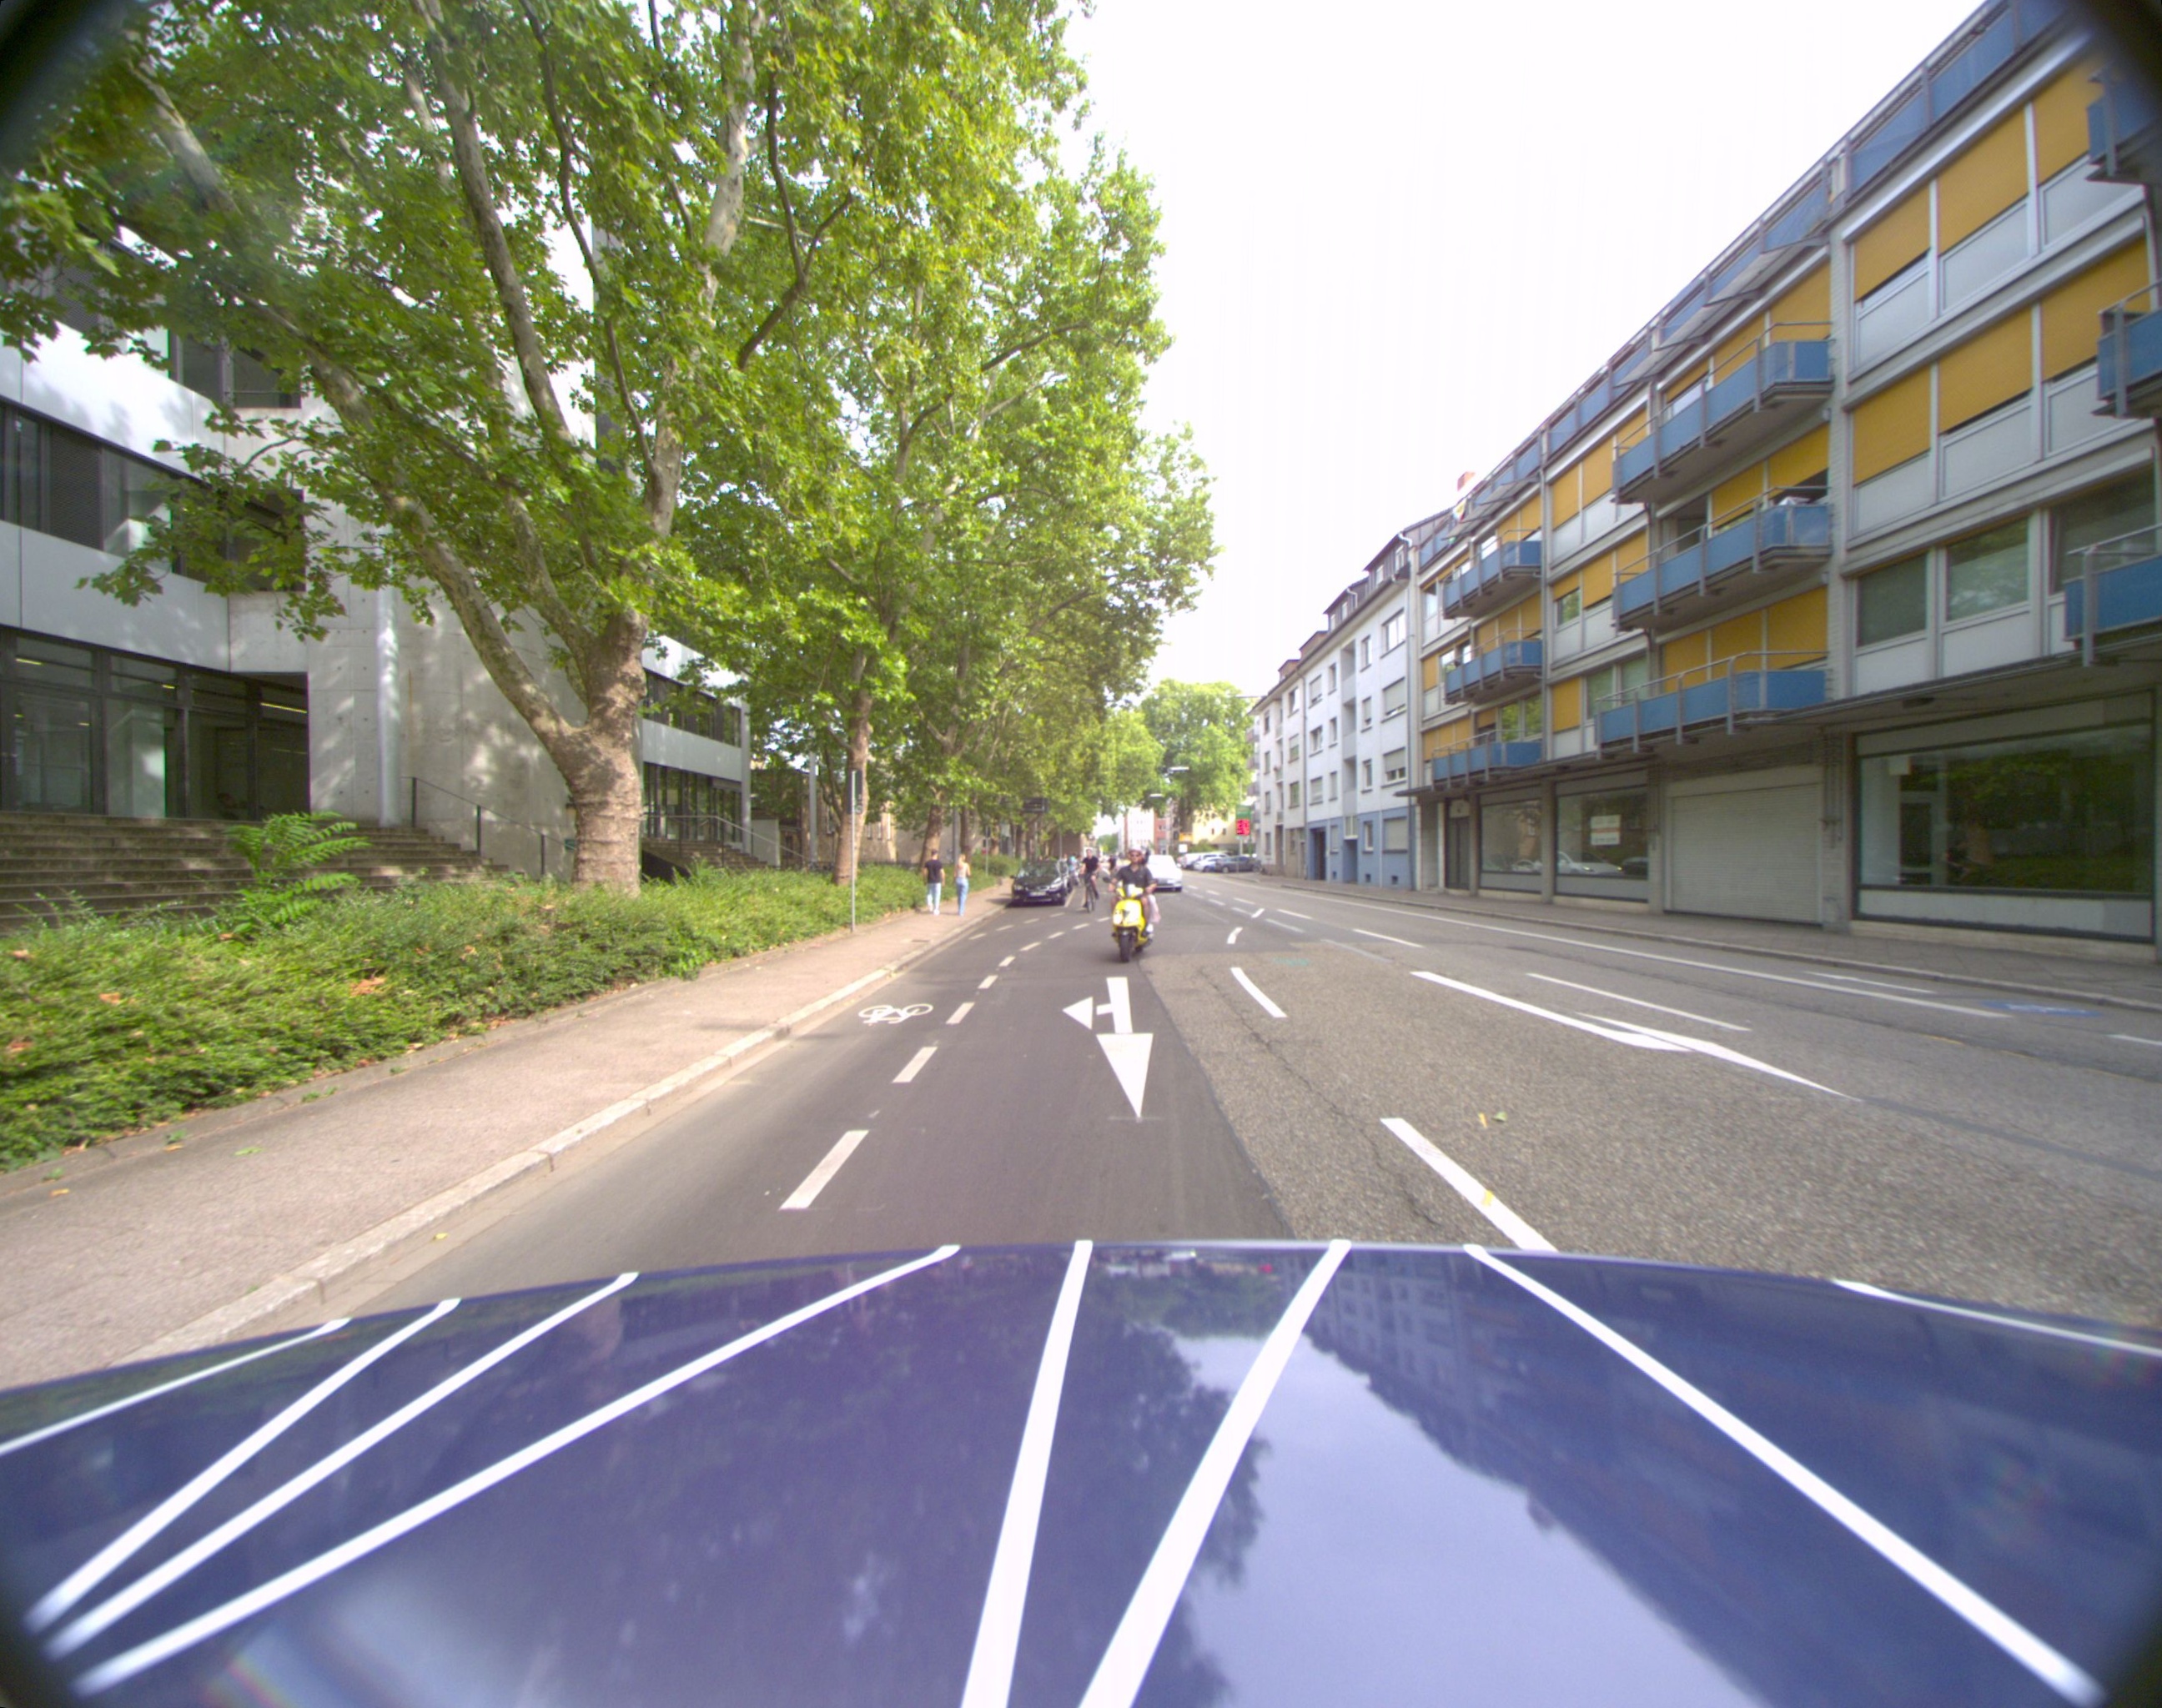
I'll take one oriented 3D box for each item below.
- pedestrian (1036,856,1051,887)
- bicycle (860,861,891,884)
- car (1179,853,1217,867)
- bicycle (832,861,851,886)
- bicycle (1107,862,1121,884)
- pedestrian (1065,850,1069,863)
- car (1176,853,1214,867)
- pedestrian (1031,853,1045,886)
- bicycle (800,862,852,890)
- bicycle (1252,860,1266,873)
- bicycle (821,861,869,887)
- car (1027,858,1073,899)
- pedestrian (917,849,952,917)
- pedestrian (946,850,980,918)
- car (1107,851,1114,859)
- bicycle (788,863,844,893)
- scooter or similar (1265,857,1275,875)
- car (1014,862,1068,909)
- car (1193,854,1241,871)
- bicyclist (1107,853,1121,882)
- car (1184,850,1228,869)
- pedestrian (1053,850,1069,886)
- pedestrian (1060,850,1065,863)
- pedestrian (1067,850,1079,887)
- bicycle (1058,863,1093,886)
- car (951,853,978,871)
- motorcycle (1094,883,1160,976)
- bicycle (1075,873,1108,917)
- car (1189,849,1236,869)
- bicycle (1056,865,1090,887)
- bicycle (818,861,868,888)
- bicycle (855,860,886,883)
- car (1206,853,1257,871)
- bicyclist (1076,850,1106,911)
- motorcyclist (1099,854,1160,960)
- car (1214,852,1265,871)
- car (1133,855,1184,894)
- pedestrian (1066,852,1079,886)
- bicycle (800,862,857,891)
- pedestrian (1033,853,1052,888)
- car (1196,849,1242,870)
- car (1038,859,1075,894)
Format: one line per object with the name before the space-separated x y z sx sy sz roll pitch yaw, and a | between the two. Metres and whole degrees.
pedestrian | -2.027 0.945 41.533 0.723 1.648 0.655 -2 1 1
bicycle | -9.786 0.881 36.215 1.382 1.111 0.468 1 1 -6
car | 14.528 0.766 94.635 4.372 1.540 1.733 -3 0 2
bicycle | -11.067 0.893 35.167 0.492 1.111 1.437 0 0 -4
bicycle | 1.868 1.068 43.160 0.763 1.162 1.950 -1 0 2
pedestrian | -1.964 0.402 107.516 0.502 1.775 0.527 3 1 0
car | 14.490 0.754 96.951 4.529 1.596 1.754 -3 0 2
pedestrian | -2.410 0.855 42.657 0.723 1.844 0.703 -2 1 1
bicycle | -10.616 0.902 31.690 1.919 1.111 0.673 1 0 1
bicycle | 12.977 0.916 55.402 0.598 0.945 1.663 -2 0 1
bicycle | -10.495 0.882 33.799 1.919 1.111 0.673 1 0 1
car | -1.235 0.986 31.162 1.539 1.534 2.600 -2 0 4
pedestrian | -3.932 0.763 20.508 0.717 1.789 1.033 1 1 0
pedestrian | -3.172 0.778 20.510 0.712 1.773 1.033 1 1 0
car | 9.503 0.374 244.816 1.998 2.546 4.799 -1 0 2
bicycle | -10.223 0.911 29.304 1.919 1.111 0.673 1 0 1
scooter or similar | 13.113 0.799 52.692 0.350 1.214 1.202 -2 0 1
car | -1.356 1.057 26.940 1.702 1.417 4.421 -2 0 -2
car | 13.186 0.784 73.629 4.281 1.442 1.874 -3 0 1
bicyclist | 1.871 0.753 43.165 0.748 1.590 0.819 -1 0 1
car | 14.038 0.574 85.499 4.627 1.848 1.950 -3 0 2
pedestrian | -1.115 0.763 42.799 0.795 1.986 0.750 -2 1 1
pedestrian | -2.582 0.341 107.769 0.643 1.823 0.645 3 1 0
pedestrian | -0.442 0.779 40.921 0.476 1.923 0.744 -2 1 -10
bicycle | -0.292 1.125 41.958 1.796 1.210 0.552 -2 1 -16
car | -10.194 0.709 66.776 1.673 1.441 4.299 -1 -2 -1
motorcycle | 0.767 1.098 11.853 0.904 1.190 2.632 -1 0 6
bicycle | 0.315 1.156 21.974 0.763 1.162 1.950 -1 0 5
car | 14.390 0.514 83.107 4.778 1.923 1.994 -3 0 2
bicycle | -0.420 1.157 40.581 1.740 1.099 0.552 -2 1 -10
bicycle | -10.249 0.885 32.707 1.919 1.111 0.673 1 0 1
bicycle | -10.457 0.882 37.752 1.449 1.111 0.468 1 1 -2
car | 14.097 0.743 71.353 4.311 1.442 1.910 -3 0 1
bicyclist | 0.296 0.759 21.907 0.764 1.698 0.918 -1 0 5
motorcyclist | 0.770 0.804 11.853 0.904 1.608 0.691 -1 1 6
car | 14.357 0.703 68.976 4.161 1.504 1.837 -3 0 1
car | 3.423 0.876 34.455 2.000 1.556 4.551 -1 0 2
pedestrian | -0.494 0.815 42.207 0.522 1.834 0.744 -2 1 -14
bicycle | -10.175 0.900 30.640 2.084 1.111 0.673 1 0 1
pedestrian | -2.063 0.877 40.755 0.873 1.806 0.780 -2 1 1
car | 13.869 0.552 76.343 4.221 1.837 1.924 -3 0 1
car | -1.121 1.006 36.042 1.532 1.493 3.660 -2 0 1
